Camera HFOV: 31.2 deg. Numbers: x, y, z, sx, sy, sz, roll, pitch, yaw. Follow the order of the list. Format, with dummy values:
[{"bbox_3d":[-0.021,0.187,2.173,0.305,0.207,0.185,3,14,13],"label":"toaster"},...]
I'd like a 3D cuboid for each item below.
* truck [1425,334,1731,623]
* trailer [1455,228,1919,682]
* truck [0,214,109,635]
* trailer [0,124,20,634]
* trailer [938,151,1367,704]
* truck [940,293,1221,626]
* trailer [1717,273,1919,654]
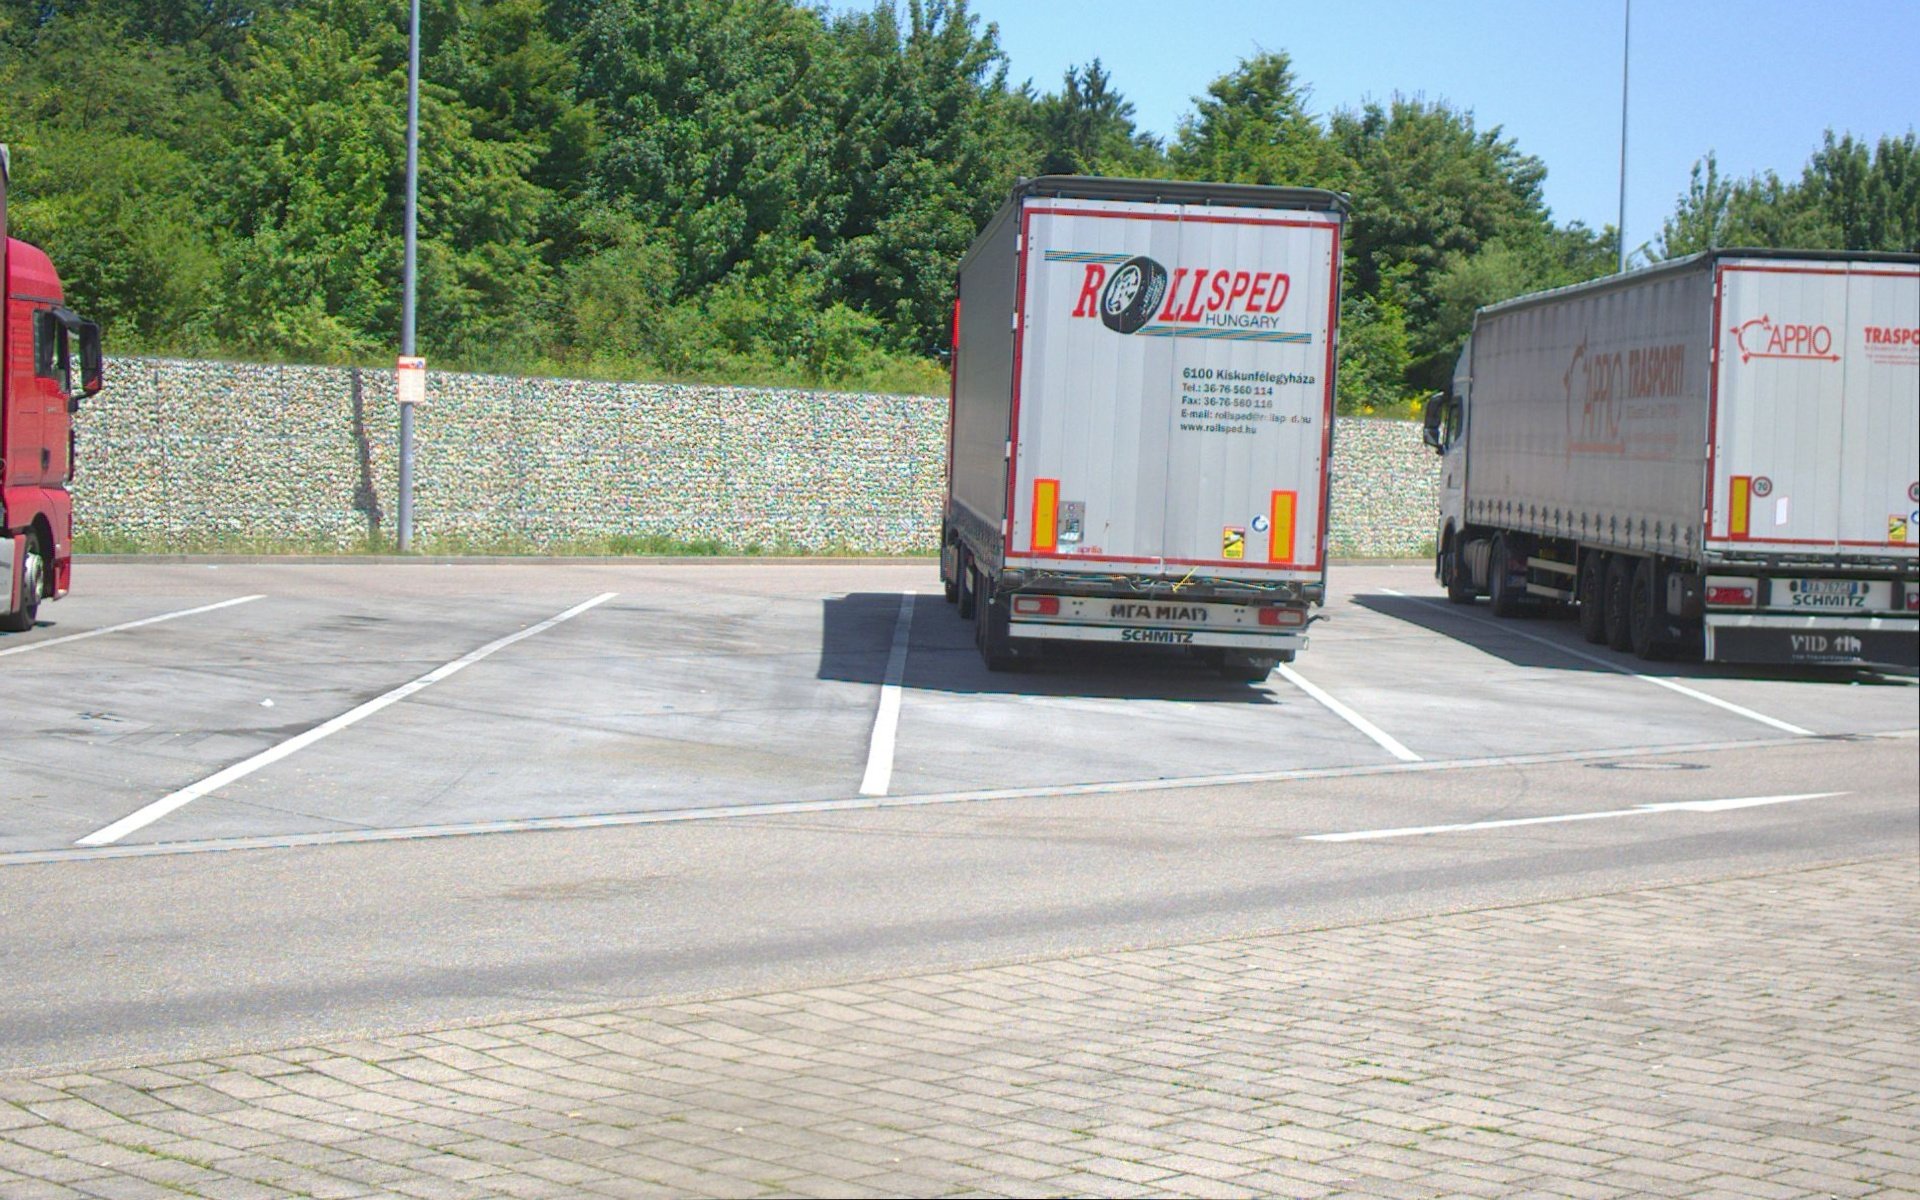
[{"bbox_3d":[8.055,-1.630,45.505,2.852,3.472,5.483,2,2,-1],"label":"truck"},{"bbox_3d":[8.148,-1.632,38.692,2.838,4.118,13.724,2,3,-1],"label":"trailer"},{"bbox_3d":[-9.244,-1.506,28.744,2.852,3.416,5.483,2,2,-1],"label":"truck"},{"bbox_3d":[-9.153,-1.489,21.305,2.906,4.118,13.725,2,3,-1],"label":"trailer"},{"bbox_3d":[1.432,-1.625,33.202,2.906,4.118,13.725,2,3,-1],"label":"trailer"},{"bbox_3d":[1.283,-1.632,39.815,2.852,3.472,5.483,2,2,-1],"label":"truck"},{"bbox_3d":[11.785,-1.535,39.445,2.838,4.118,13.724,2,3,-1],"label":"trailer"}]
